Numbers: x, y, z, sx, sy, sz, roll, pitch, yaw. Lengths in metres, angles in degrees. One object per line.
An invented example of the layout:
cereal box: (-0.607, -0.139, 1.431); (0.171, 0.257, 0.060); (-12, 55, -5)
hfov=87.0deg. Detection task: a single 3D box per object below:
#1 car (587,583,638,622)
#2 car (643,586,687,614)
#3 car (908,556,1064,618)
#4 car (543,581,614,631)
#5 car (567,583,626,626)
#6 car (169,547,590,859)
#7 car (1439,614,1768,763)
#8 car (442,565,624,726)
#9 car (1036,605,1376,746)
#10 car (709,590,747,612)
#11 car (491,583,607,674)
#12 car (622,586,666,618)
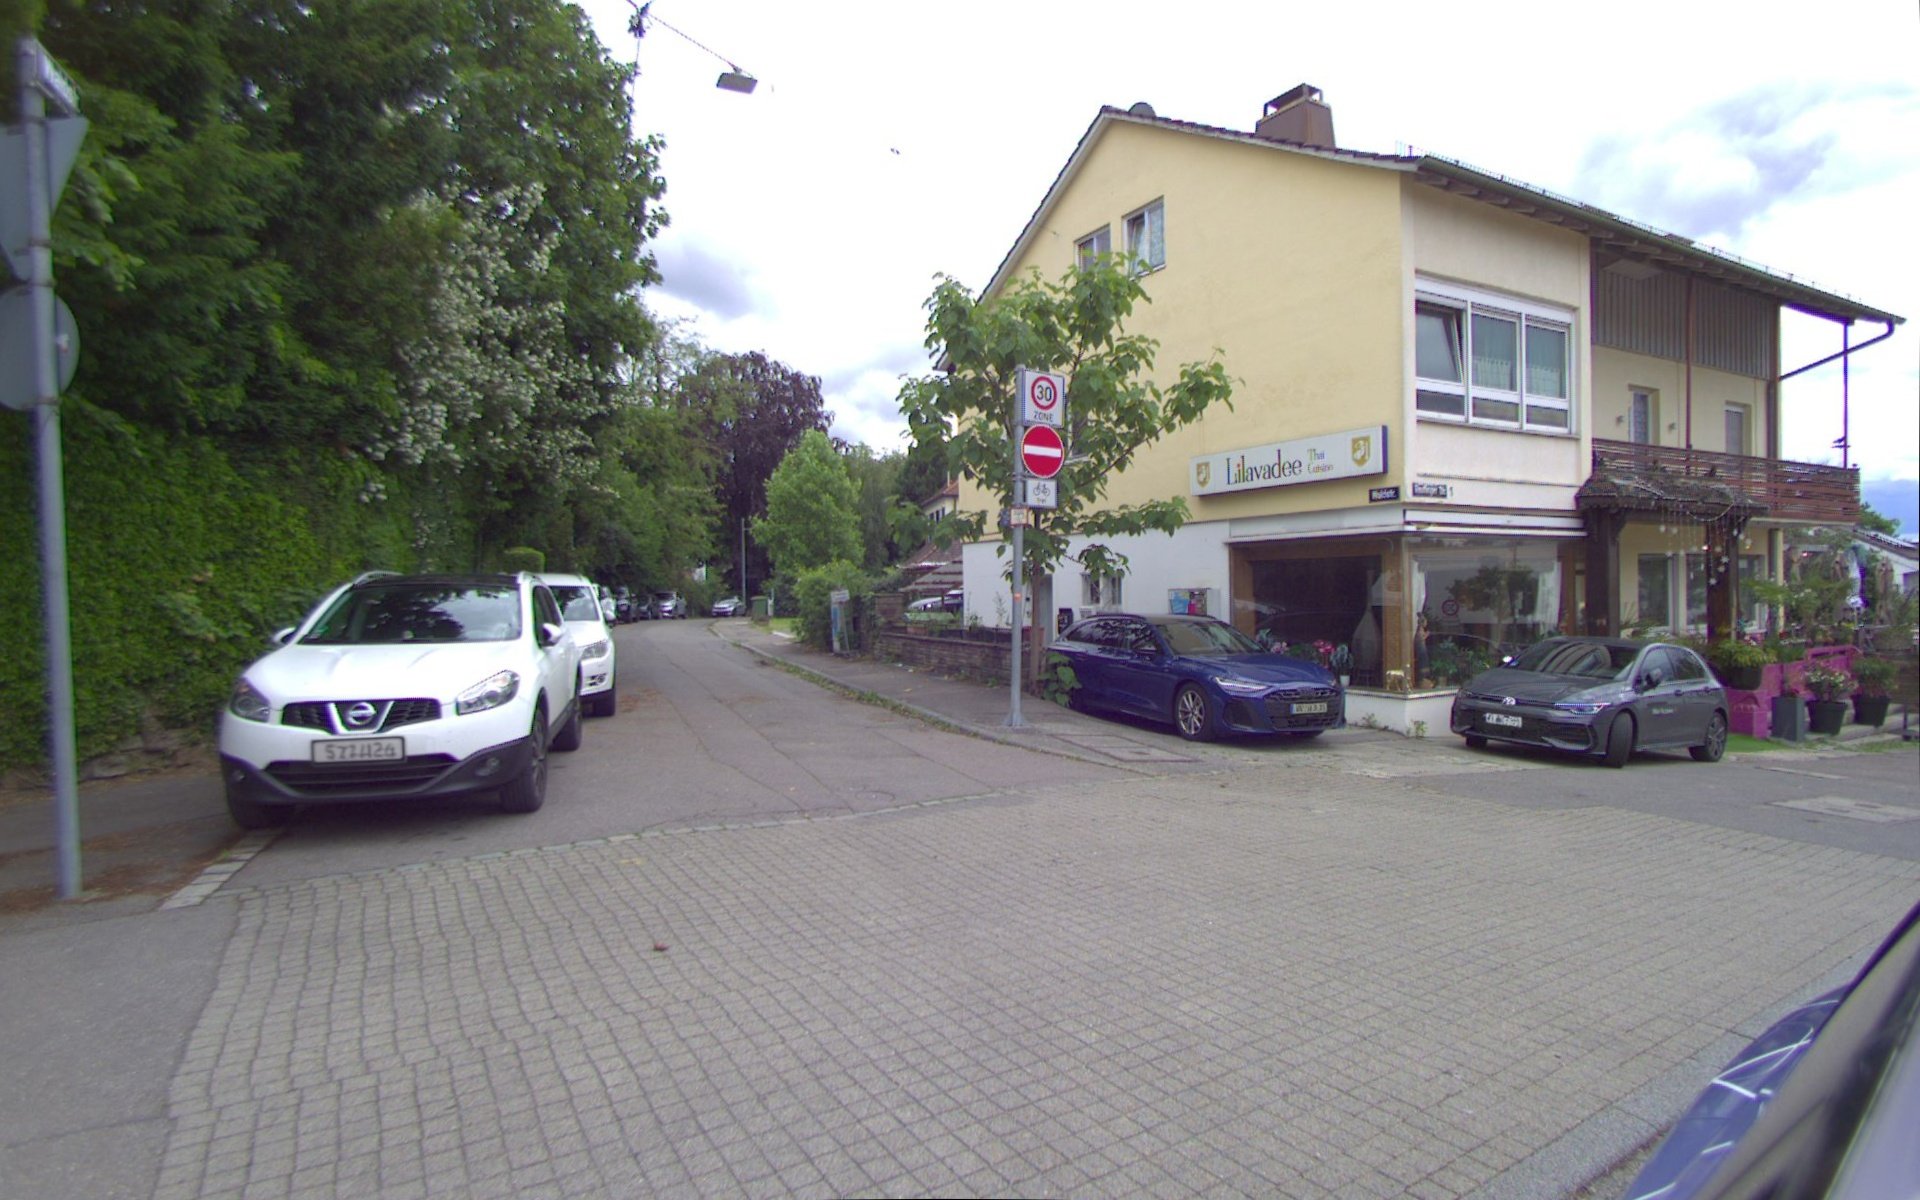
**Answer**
car: (-14.213, 0.054, 41.528); (1.542, 1.502, 3.481); (-1, 1, -11)
car: (-16.247, -0.030, 55.797); (1.543, 1.502, 3.476); (0, 1, -3)
car: (0.771, -0.359, 30.365); (4.235, 1.480, 1.802); (4, -2, -19)
car: (-12.223, 0.147, 32.594); (1.542, 1.502, 3.745); (-1, 1, -11)
car: (-13.429, 0.112, 37.548); (1.542, 1.502, 3.481); (-1, 1, -11)
car: (-3.872, 0.513, 7.557); (1.761, 1.643, 4.144); (-1, 1, -16)
car: (7.938, 1.071, 12.375); (4.242, 1.480, 1.800); (5, -2, -34)
car: (-5.182, 0.440, 12.612); (1.761, 1.643, 4.080); (-1, 1, -20)
car: (2.909, 0.834, 13.214); (1.761, 1.405, 4.758); (2, 0, -23)
car: (-16.355, 0.041, 71.459); (1.547, 1.502, 3.468); (0, 1, 7)
car: (-7.437, 0.427, 18.565); (1.761, 1.441, 4.080); (-1, 1, -20)
car: (-15.923, 0.085, 51.115); (1.542, 1.502, 3.479); (-1, 1, -8)
